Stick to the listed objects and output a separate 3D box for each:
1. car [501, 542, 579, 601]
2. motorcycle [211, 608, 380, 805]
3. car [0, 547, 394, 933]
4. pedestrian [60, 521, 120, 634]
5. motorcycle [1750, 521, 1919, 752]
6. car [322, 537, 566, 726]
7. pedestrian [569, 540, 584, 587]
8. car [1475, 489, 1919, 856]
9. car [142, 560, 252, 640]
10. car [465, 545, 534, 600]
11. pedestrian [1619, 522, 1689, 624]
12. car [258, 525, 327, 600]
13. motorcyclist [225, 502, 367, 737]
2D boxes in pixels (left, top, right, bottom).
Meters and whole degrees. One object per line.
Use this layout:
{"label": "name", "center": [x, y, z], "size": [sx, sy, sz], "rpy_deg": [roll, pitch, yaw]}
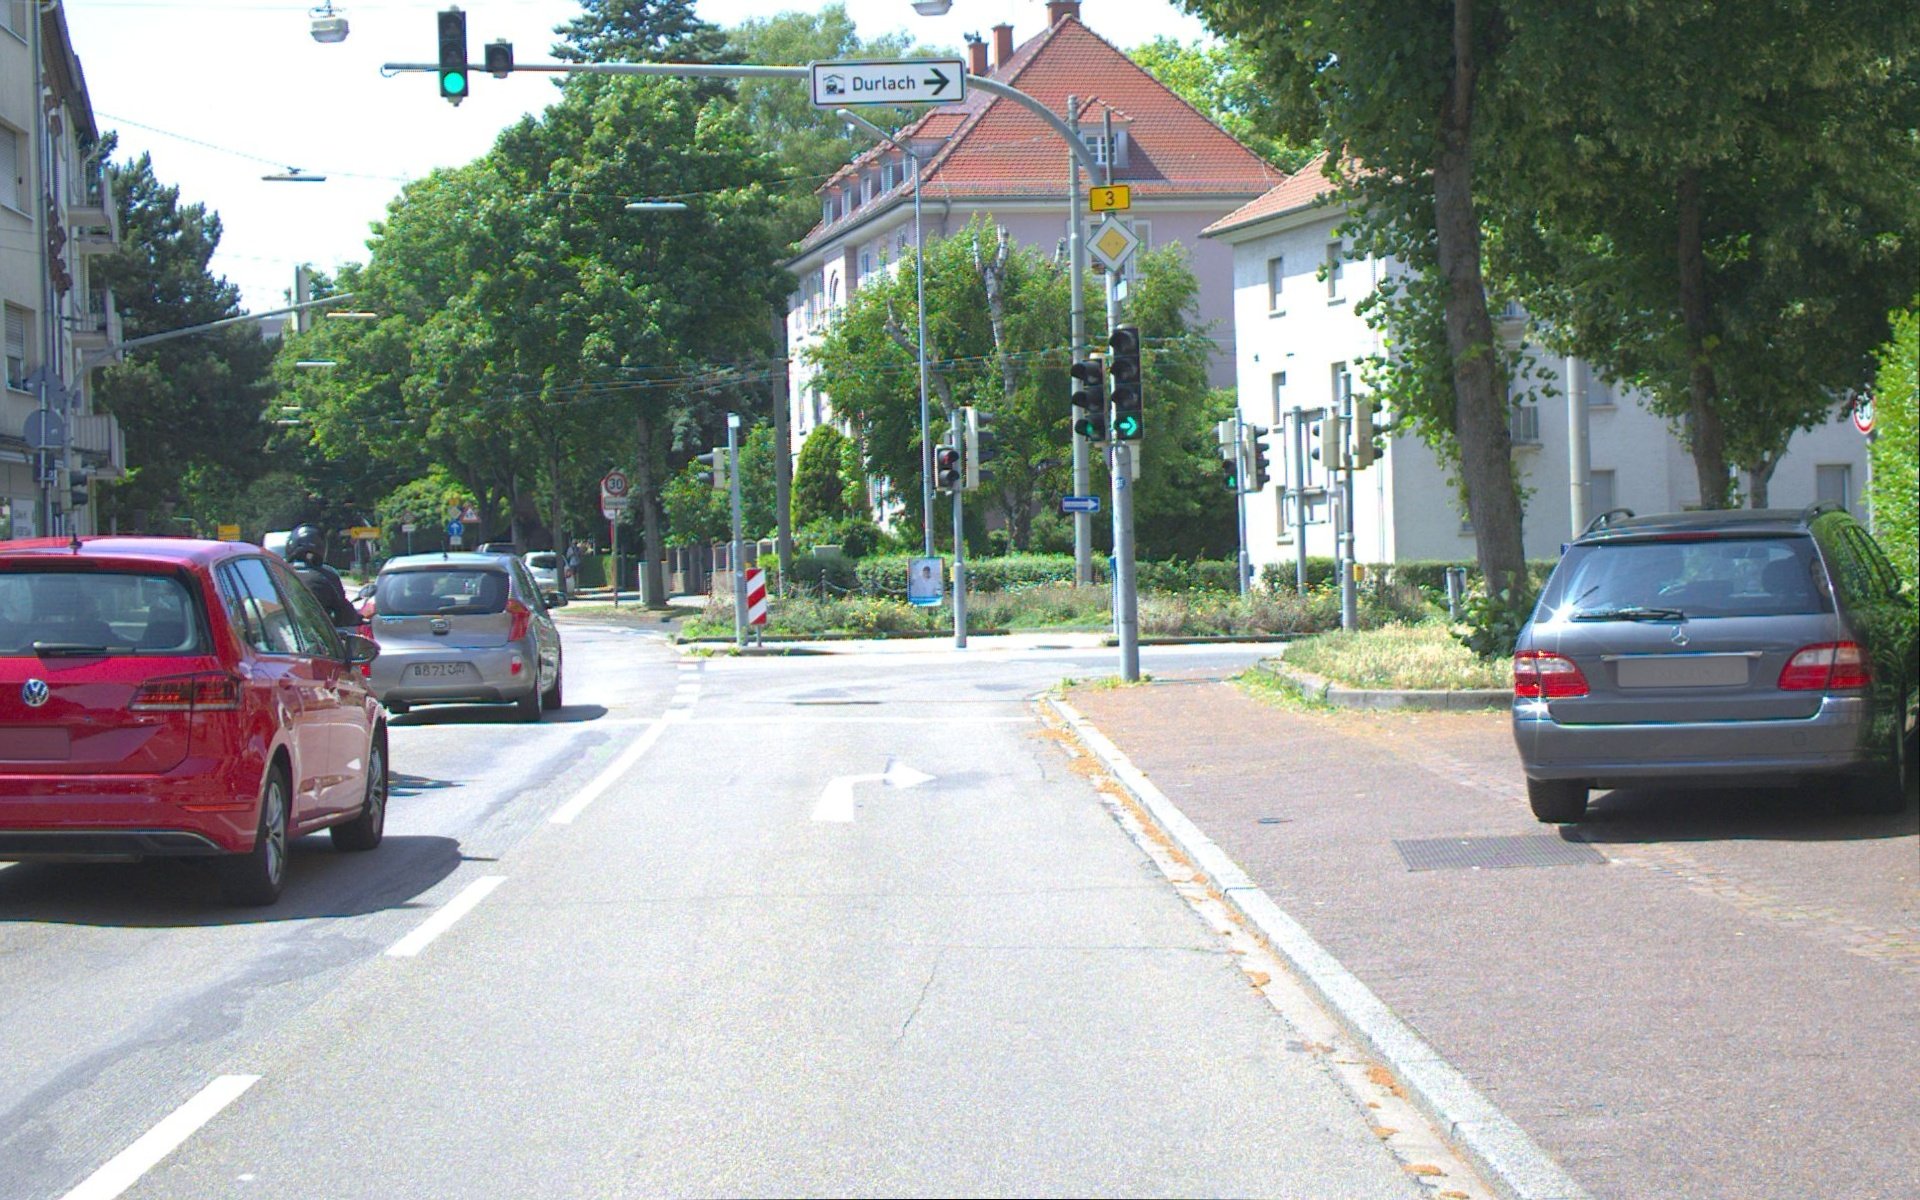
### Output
{"label": "car", "center": [-13.294, -0.913, 108.707], "size": [1.993, 1.801, 4.001], "rpy_deg": [-1, 1, -14]}
{"label": "motorcycle", "center": [-4.188, 0.643, 21.803], "size": [0.711, 1.130, 2.197], "rpy_deg": [-1, 1, -2]}
{"label": "car", "center": [-3.812, 0.546, 15.939], "size": [1.799, 1.552, 4.038], "rpy_deg": [-1, 1, -1]}
{"label": "pedestrian", "center": [-15.068, -0.395, 59.546], "size": [0.935, 1.925, 0.977], "rpy_deg": [-2, 0, -13]}
{"label": "motorcycle", "center": [5.591, 0.196, 21.516], "size": [0.931, 1.298, 2.279], "rpy_deg": [-2, 2, 20]}
{"label": "car", "center": [-4.574, 0.241, 30.962], "size": [1.798, 1.552, 4.038], "rpy_deg": [-1, 1, -4]}
{"label": "pedestrian", "center": [-13.609, -1.297, 121.952], "size": [0.508, 1.650, 0.466], "rpy_deg": [-1, 1, -8]}
{"label": "car", "center": [4.104, 0.262, 17.917], "size": [1.836, 1.543, 5.152], "rpy_deg": [-2, 2, 19]}
{"label": "car", "center": [-15.182, 0.012, 68.293], "size": [1.993, 1.514, 4.001], "rpy_deg": [-1, 0, -15]}
{"label": "car", "center": [-16.321, -0.999, 121.848], "size": [1.993, 1.900, 4.001], "rpy_deg": [-1, 1, -14]}
{"label": "pedestrian", "center": [11.760, -0.463, 58.275], "size": [0.835, 1.699, 0.762], "rpy_deg": [-2, 1, -28]}
{"label": "car", "center": [-24.420, -1.371, 125.809], "size": [2.215, 2.492, 7.556], "rpy_deg": [-5, 1, -11]}
{"label": "motorcyclist", "center": [-4.195, 0.114, 21.772], "size": [0.711, 1.440, 1.019], "rpy_deg": [-1, 1, -2]}
